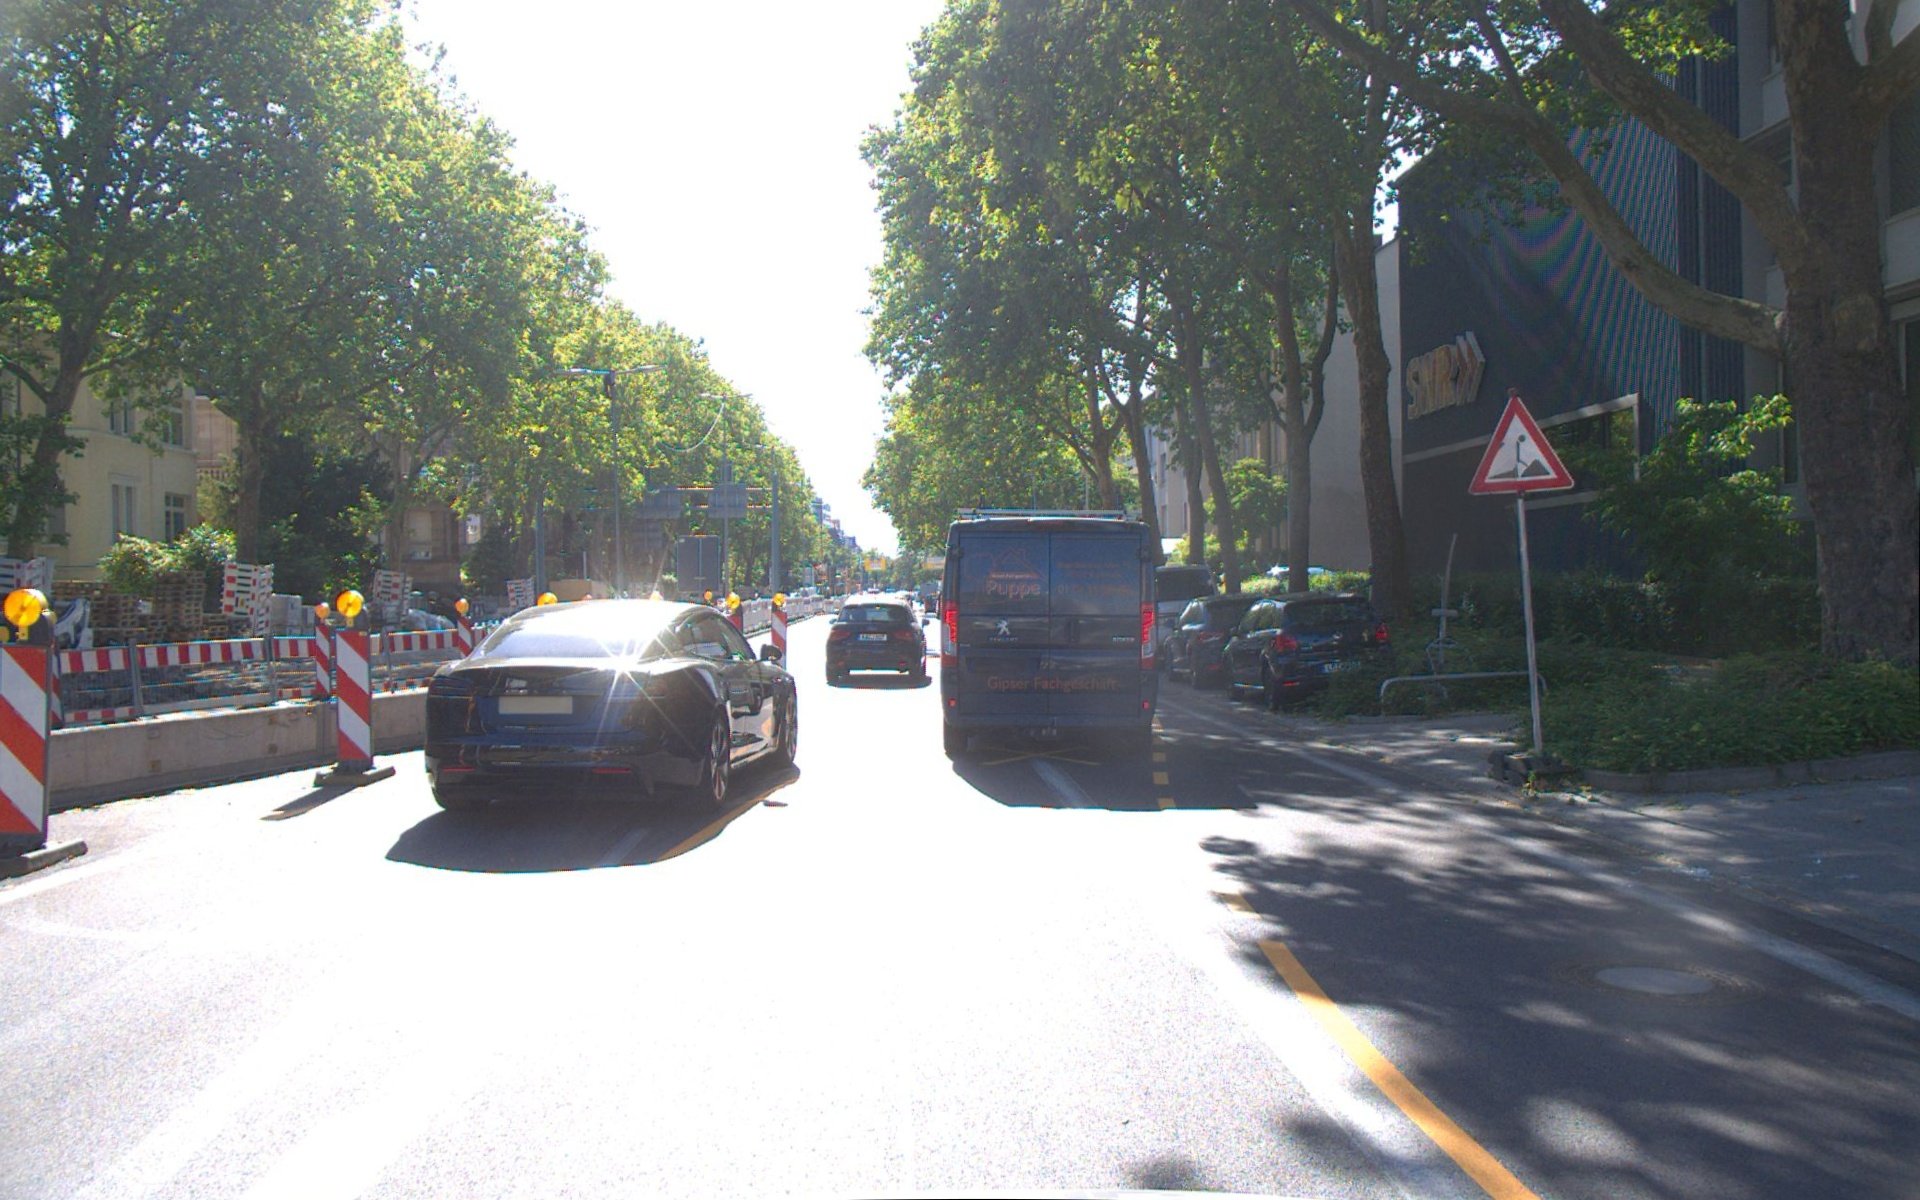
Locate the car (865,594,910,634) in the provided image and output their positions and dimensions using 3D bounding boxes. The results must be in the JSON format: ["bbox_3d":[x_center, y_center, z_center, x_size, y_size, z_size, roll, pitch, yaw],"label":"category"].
[{"bbox_3d":[-2.370,0.455,54.870,1.392,1.246,3.437,-1,0,-1],"label":"car"}]

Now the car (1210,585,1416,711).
[{"bbox_3d":[4.691,0.582,22.568,1.728,1.534,4.249,-1,0,-3],"label":"car"}]

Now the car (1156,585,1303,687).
[{"bbox_3d":[4.396,0.545,27.548,1.624,1.567,4.126,0,0,-3],"label":"car"}]

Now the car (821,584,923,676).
[{"bbox_3d":[-1.623,0.491,29.823,1.712,1.431,3.998,0,2,-4],"label":"car"}]

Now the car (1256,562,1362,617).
[{"bbox_3d":[12.328,-0.376,58.530,1.690,1.886,3.464,0,0,-35],"label":"car"}]

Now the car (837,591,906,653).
[{"bbox_3d":[-2.227,0.529,40.973,1.518,1.450,3.550,0,0,-6],"label":"car"}]

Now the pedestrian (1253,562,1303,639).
[{"bbox_3d":[6.885,0.009,35.868,0.713,1.630,1.266,-1,0,-5],"label":"pedestrian"}]

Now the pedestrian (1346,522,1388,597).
[{"bbox_3d":[9.327,-0.925,37.887,0.692,1.677,0.674,1,3,-5],"label":"pedestrian"}]

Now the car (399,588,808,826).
[{"bbox_3d":[-2.447,0.703,12.660,1.885,1.436,4.627,1,-1,3],"label":"car"}]

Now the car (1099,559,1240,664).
[{"bbox_3d":[4.234,0.216,34.234,1.985,1.980,5.270,-1,0,-3],"label":"car"}]

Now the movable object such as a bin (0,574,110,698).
[{"bbox_3d":[-18.822,0.697,31.866,1.953,2.318,5.598,-2,0,0],"label":"movable object such as a bin"}]

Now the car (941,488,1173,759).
[{"bbox_3d":[0.856,0.178,16.589,2.052,2.396,3.933,0,1,0],"label":"car"}]
